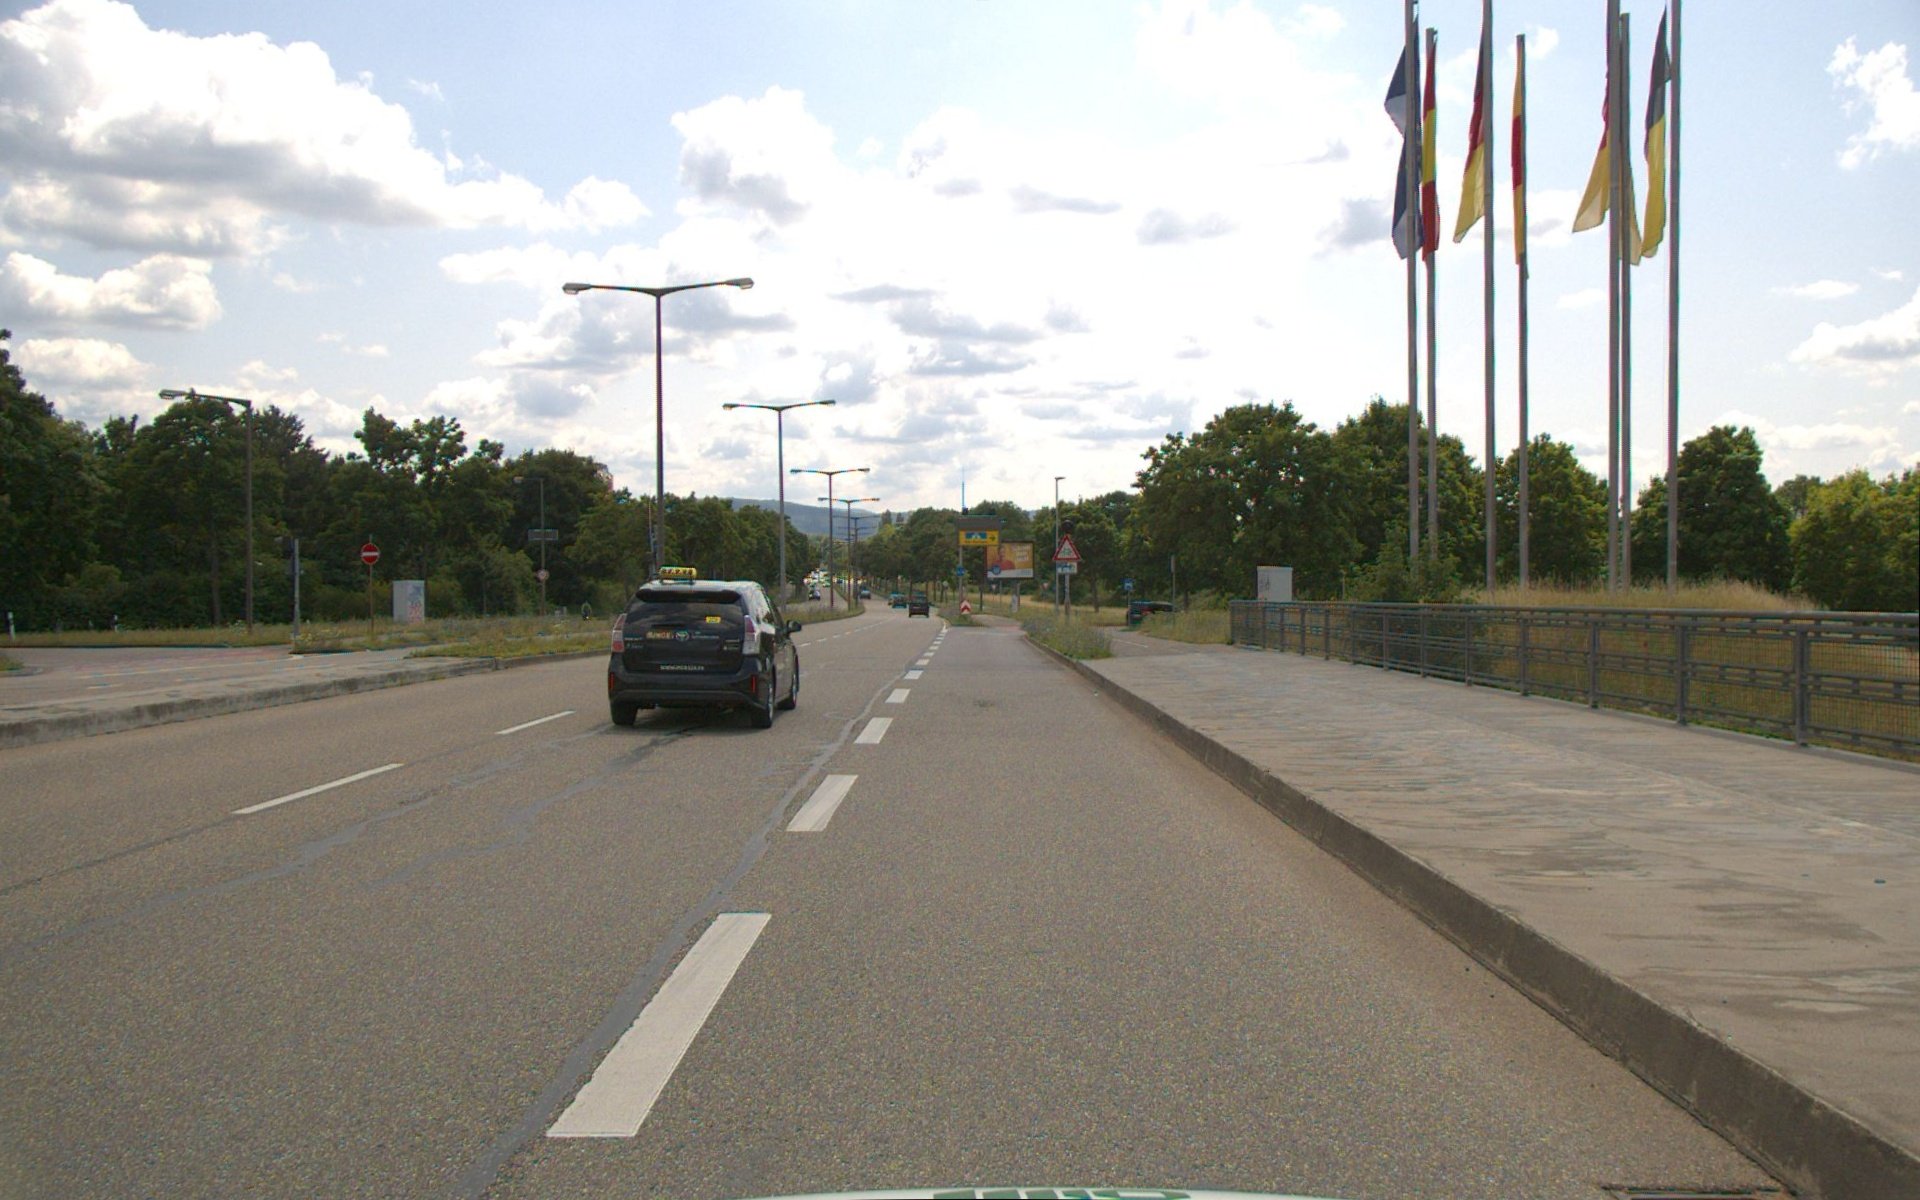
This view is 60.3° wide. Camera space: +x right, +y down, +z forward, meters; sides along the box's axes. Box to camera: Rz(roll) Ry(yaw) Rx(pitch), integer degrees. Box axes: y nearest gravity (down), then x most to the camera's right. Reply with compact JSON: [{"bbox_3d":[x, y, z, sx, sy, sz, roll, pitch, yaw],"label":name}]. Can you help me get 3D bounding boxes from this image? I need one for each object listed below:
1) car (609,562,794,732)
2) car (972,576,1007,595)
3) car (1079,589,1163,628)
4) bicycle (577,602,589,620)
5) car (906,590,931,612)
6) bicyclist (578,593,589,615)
[{"bbox_3d":[-2.858,0.442,19.016,1.744,1.713,3.997,1,1,-4],"label":"car"},{"bbox_3d":[2.852,-1.431,158.795,1.966,1.691,3.973,1,1,-22],"label":"car"},{"bbox_3d":[7.559,0.368,77.438,1.964,1.691,3.977,2,2,41],"label":"car"},{"bbox_3d":[-23.851,0.704,104.645,0.423,1.087,1.906,1,1,-4],"label":"bicycle"},{"bbox_3d":[-3.515,0.078,140.906,1.954,1.691,3.998,1,1,-4],"label":"car"},{"bbox_3d":[-23.843,0.252,104.661,0.510,1.294,1.106,1,1,-4],"label":"bicyclist"}]
